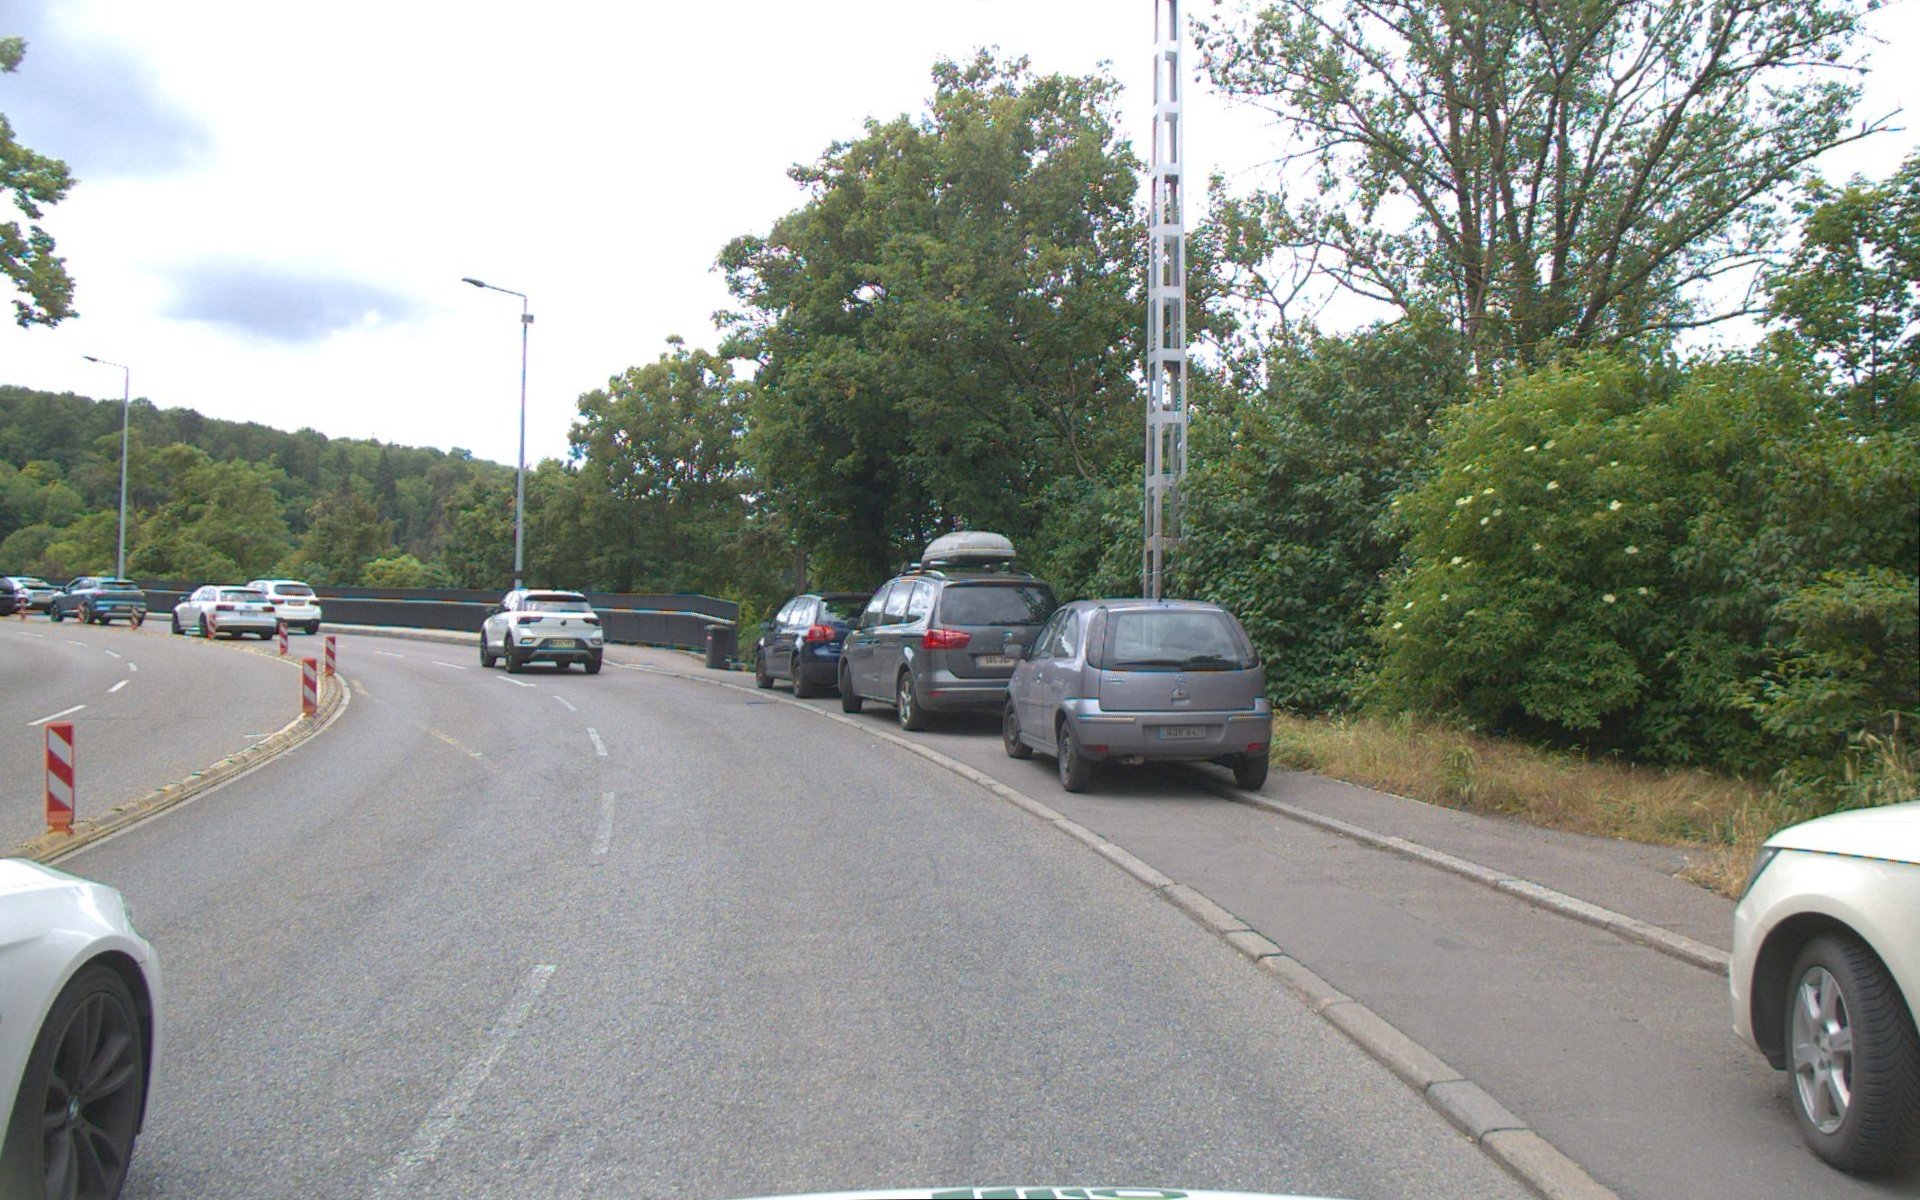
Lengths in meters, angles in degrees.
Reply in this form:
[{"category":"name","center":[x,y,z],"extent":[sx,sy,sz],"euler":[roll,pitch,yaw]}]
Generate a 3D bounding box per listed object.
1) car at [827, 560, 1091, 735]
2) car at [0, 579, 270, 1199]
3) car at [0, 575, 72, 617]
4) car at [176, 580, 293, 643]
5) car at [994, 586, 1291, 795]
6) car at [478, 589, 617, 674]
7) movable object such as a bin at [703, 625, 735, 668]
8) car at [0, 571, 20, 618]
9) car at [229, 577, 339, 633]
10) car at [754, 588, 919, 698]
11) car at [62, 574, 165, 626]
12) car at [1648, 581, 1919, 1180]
[{"category":"car","center":[-0.162,0.494,19.485],"extent":[1.770,1.803,4.584],"euler":[2,0,-18]},{"category":"car","center":[-2.730,0.668,2.054],"extent":[1.811,1.492,4.876],"euler":[3,0,-3]},{"category":"car","center":[-37.357,-0.171,66.013],"extent":[3.458,1.552,1.697],"euler":[2,-1,29]},{"category":"car","center":[-20.592,0.299,46.858],"extent":[1.896,1.601,3.940],"euler":[3,-1,-41]},{"category":"car","center":[1.380,0.670,14.011],"extent":[1.610,1.489,3.994],"euler":[1,0,-7]},{"category":"car","center":[-8.148,0.571,32.480],"extent":[1.845,1.563,3.769],"euler":[0,0,-28]},{"category":"movable object such as a bin","center":[-5.305,1.018,36.330],"extent":[0.514,0.896,0.527],"euler":[3,-1,-28]},{"category":"car","center":[-37.217,-0.281,62.022],"extent":[3.917,1.719,1.816],"euler":[2,-1,33]},{"category":"car","center":[-21.586,0.150,52.741],"extent":[1.983,1.614,3.939],"euler":[3,-1,-42]},{"category":"car","center":[-1.965,0.602,25.185],"extent":[1.633,1.513,4.015],"euler":[2,0,-17]},{"category":"car","center":[-28.641,-0.022,55.942],"extent":[1.985,1.568,3.945],"euler":[3,-1,-44]},{"category":"car","center":[3.319,0.664,3.268],"extent":[1.745,1.443,3.990],"euler":[-1,0,-10]}]
